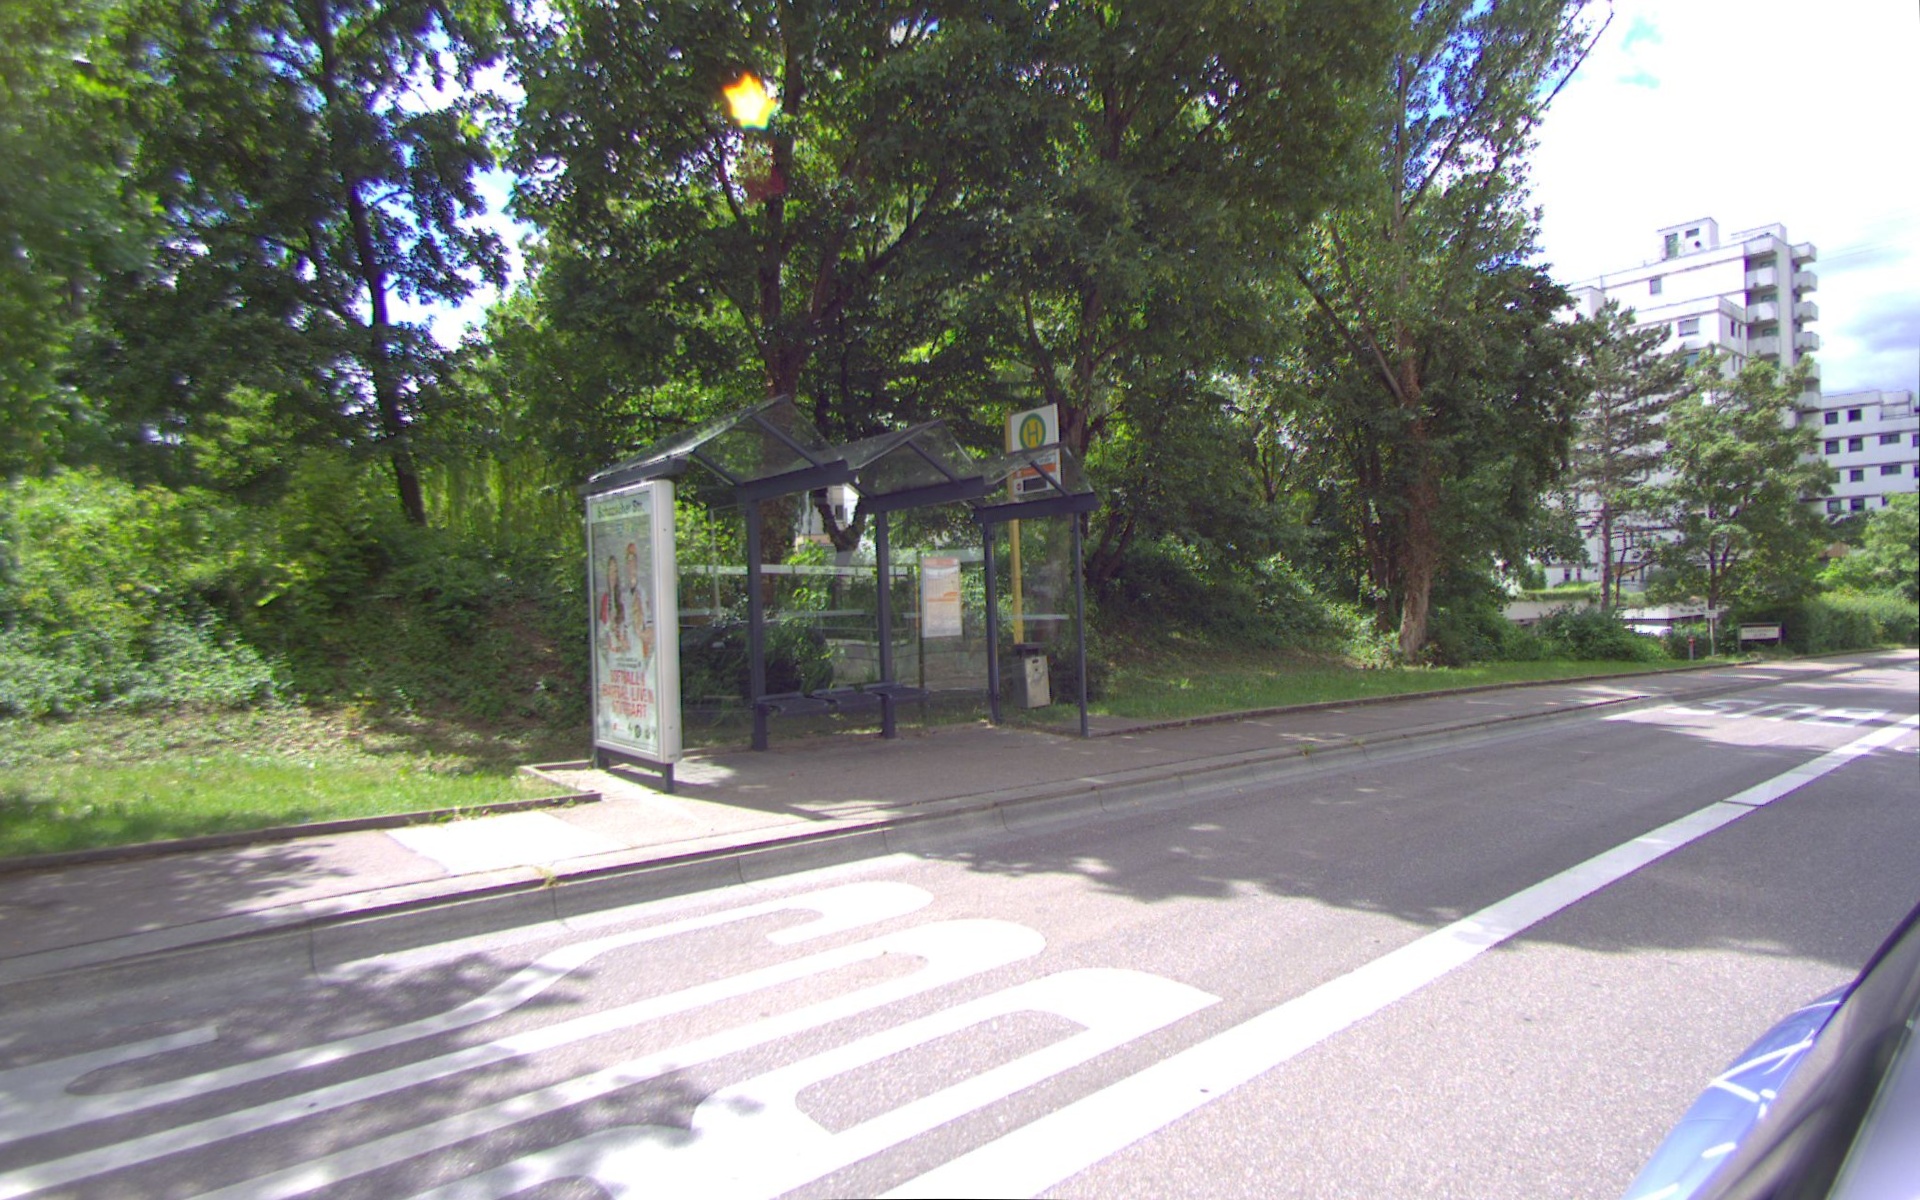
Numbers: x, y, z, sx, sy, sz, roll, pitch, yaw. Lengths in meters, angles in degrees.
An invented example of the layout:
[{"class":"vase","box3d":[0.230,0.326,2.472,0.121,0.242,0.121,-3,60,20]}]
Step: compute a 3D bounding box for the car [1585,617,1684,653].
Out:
[{"class":"car","box3d":[40.768,2.087,61.264,1.961,2.039,4.550,0,0,-34]}]
